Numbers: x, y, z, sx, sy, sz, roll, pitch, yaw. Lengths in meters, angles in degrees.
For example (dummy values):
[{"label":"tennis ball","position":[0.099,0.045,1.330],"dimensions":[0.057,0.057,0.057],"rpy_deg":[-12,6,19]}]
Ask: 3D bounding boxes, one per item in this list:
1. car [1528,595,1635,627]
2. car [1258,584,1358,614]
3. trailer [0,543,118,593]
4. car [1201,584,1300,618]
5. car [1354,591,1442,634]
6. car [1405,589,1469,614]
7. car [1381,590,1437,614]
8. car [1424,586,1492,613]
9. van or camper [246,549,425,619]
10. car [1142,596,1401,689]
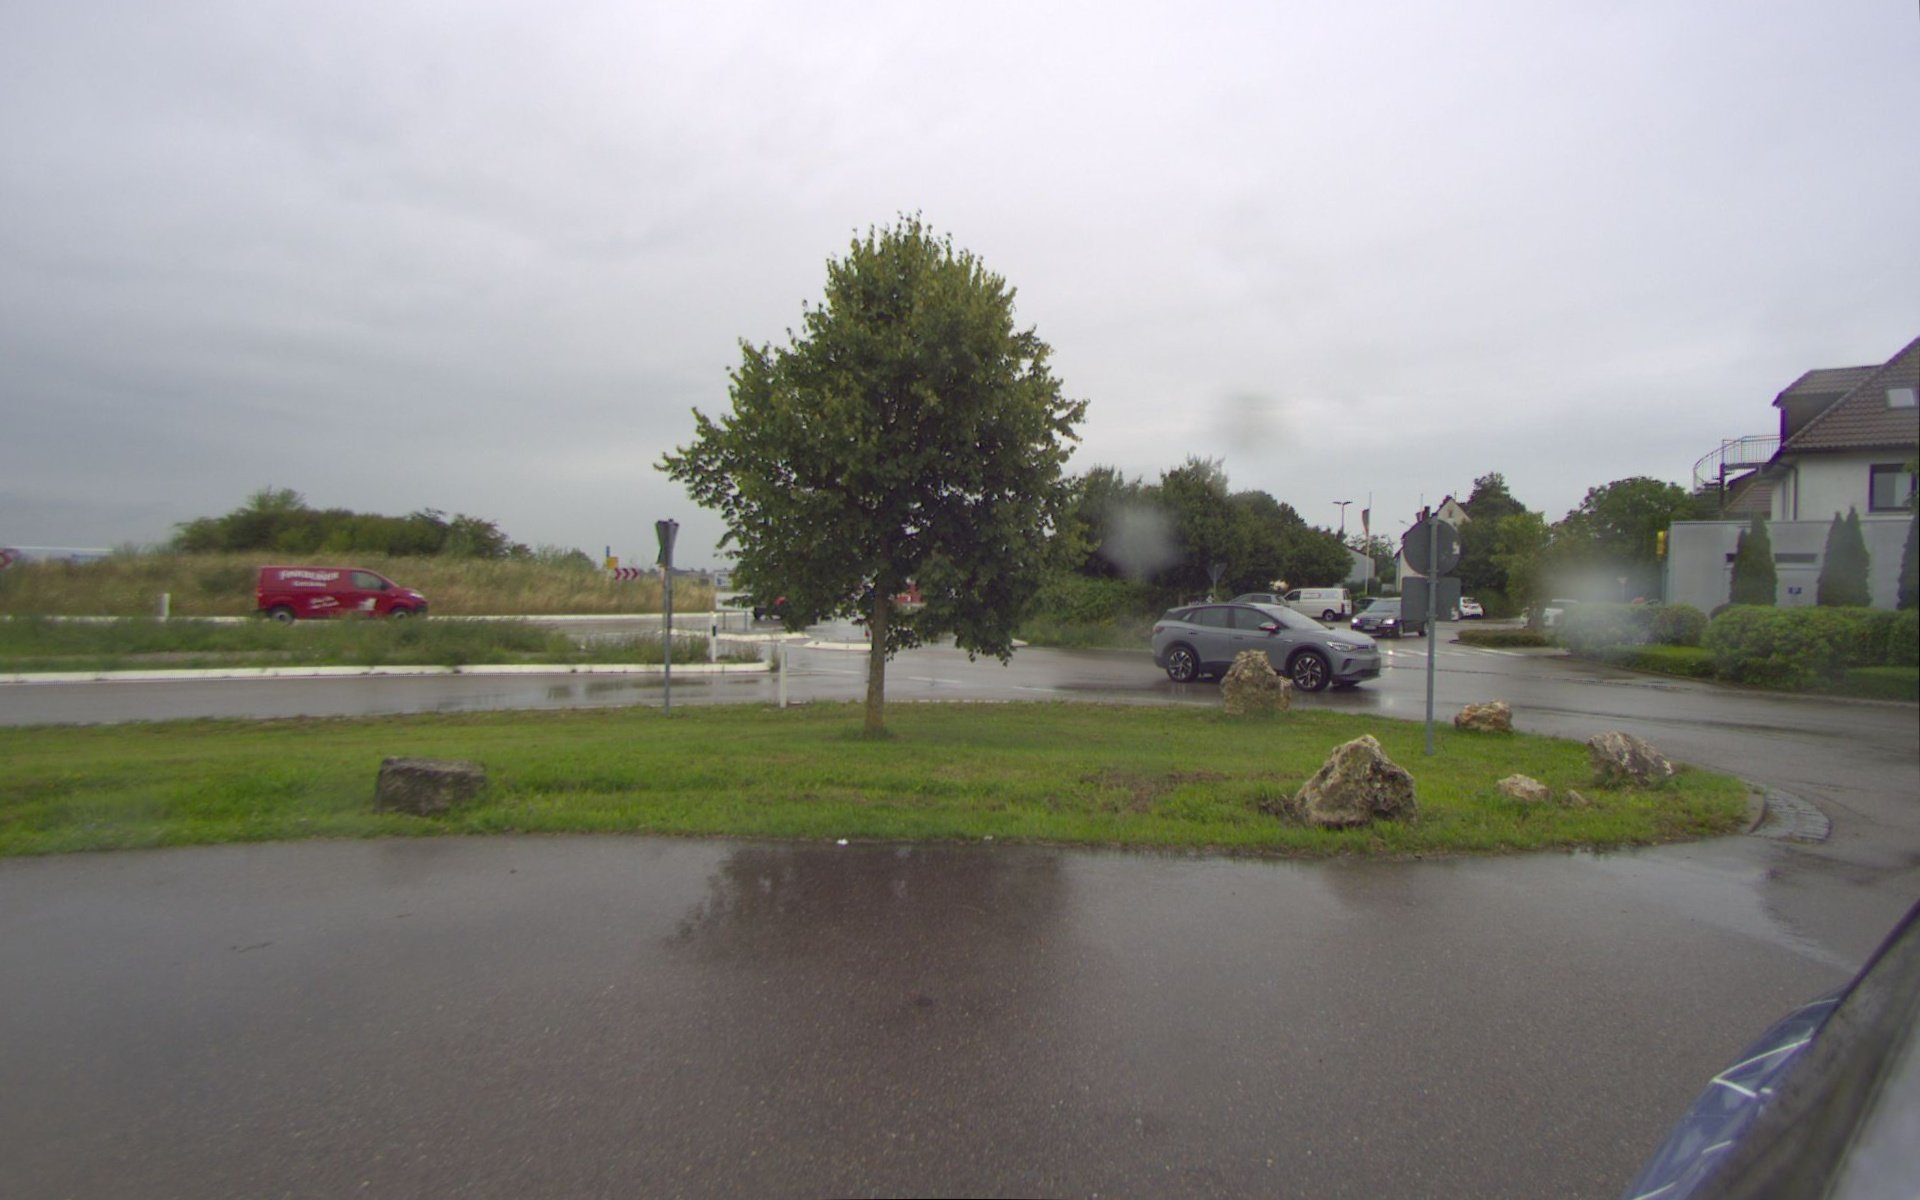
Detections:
[{"label":"car","position":[30.064,0.502,48.970],"dimensions":[4.331,1.443,1.827],"rpy_deg":[1,0,35]},{"label":"car","position":[20.917,-0.032,60.961],"dimensions":[5.344,1.744,1.974],"rpy_deg":[0,0,36]},{"label":"trailer","position":[-57.821,-1.916,61.583],"dimensions":[2.188,2.938,10.037],"rpy_deg":[0,1,29]},{"label":"car","position":[15.211,0.061,53.075],"dimensions":[4.580,1.744,1.974],"rpy_deg":[0,0,36]},{"label":"car","position":[16.289,0.429,37.567],"dimensions":[1.699,1.443,4.294],"rpy_deg":[-1,0,42]},{"label":"car","position":[31.580,0.105,67.131],"dimensions":[1.713,1.590,3.896],"rpy_deg":[0,0,-15]},{"label":"car","position":[29.648,0.124,66.927],"dimensions":[1.632,1.569,3.732],"rpy_deg":[0,0,-10]},{"label":"car","position":[33.514,-0.014,68.212],"dimensions":[1.948,1.750,4.008],"rpy_deg":[0,0,-15]},{"label":"van or camper","position":[-20.032,-0.496,32.606],"dimensions":[4.753,2.038,2.002],"rpy_deg":[1,2,-34]},{"label":"car","position":[6.034,0.733,19.903],"dimensions":[4.481,1.594,1.970],"rpy_deg":[0,0,42]}]
